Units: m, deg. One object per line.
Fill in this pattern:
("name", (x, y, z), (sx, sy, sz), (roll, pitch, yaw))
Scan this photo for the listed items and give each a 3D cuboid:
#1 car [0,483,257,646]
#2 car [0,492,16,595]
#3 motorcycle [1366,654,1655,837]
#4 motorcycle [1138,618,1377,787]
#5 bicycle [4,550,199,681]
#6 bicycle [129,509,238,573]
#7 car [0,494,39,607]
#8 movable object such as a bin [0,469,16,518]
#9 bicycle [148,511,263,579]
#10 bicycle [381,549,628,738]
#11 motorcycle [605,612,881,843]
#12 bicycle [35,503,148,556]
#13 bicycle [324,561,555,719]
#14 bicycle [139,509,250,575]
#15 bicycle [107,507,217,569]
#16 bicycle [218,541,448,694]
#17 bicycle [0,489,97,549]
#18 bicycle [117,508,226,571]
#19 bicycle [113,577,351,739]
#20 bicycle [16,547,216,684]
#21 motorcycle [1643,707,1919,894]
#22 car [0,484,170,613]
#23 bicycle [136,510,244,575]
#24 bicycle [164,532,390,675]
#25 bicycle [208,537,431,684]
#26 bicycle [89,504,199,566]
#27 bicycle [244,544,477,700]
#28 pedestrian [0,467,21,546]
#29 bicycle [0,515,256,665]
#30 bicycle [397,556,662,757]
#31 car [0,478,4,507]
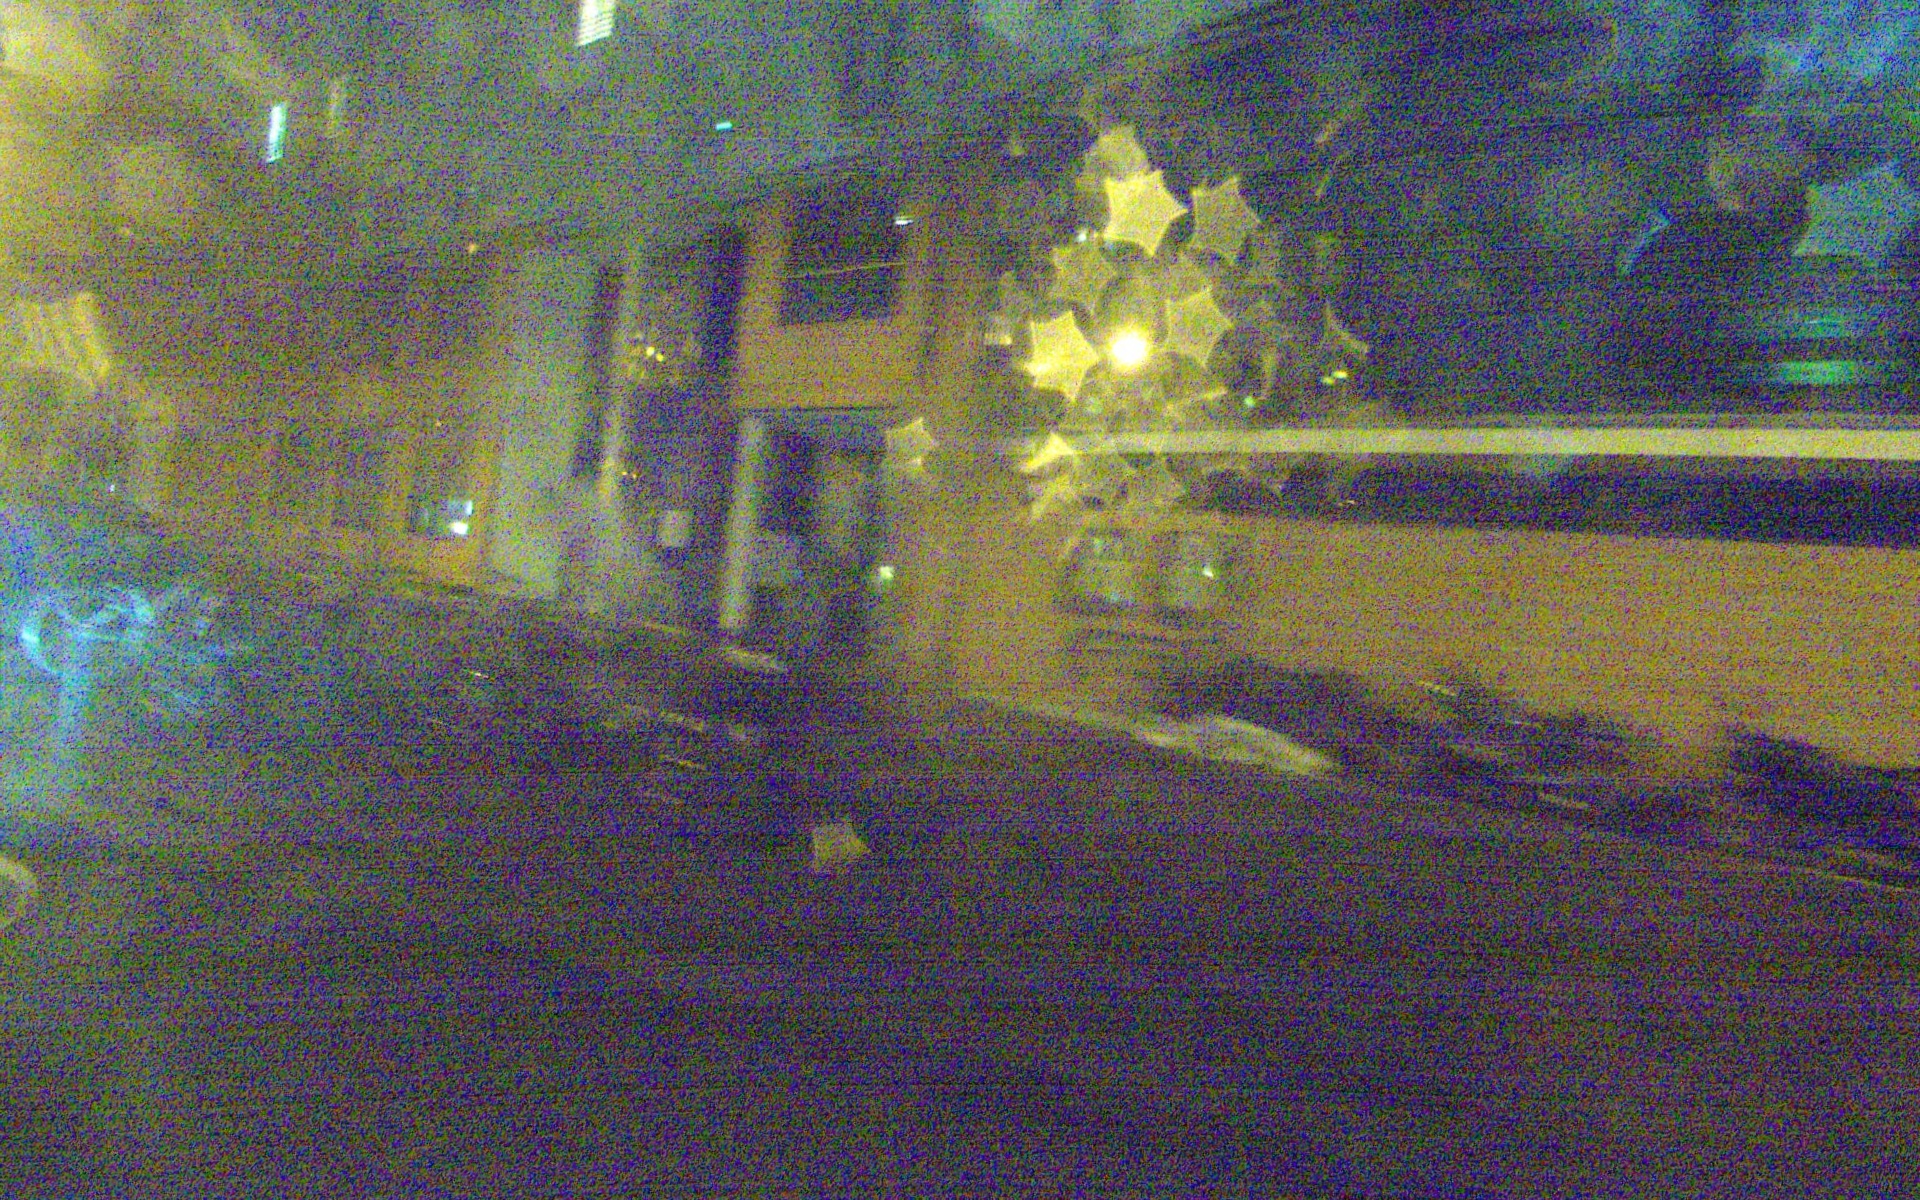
("car", (-9.714, -0.411, 10.545), (1.625, 1.542, 3.712), (6, 1, 10))
("car", (-16.603, -1.111, 14.754), (1.680, 1.629, 3.569), (7, -2, 13))
("motorcycle", (4.848, 1.237, 8.971), (2.091, 1.222, 0.523), (7, 0, 34))
("motorcycle", (2.949, 0.987, 10.076), (2.088, 1.334, 0.524), (7, 0, 28))
("bicycle", (-6.813, 0.125, 8.025), (0.263, 0.961, 1.132), (8, 3, 32))
("bicycle", (-15.918, -1.189, 20.672), (0.477, 1.162, 1.687), (7, 3, 27))
("car", (-14.456, -0.859, 13.216), (1.476, 1.570, 3.052), (7, -1, 13))
("movable object such as a bin", (-29.735, -3.292, 30.691), (0.983, 1.471, 1.207), (7, 4, 35))
("bicycle", (-14.280, -1.020, 19.087), (0.421, 1.162, 1.687), (7, 3, 27))
("bicycle", (-3.327, 0.336, 7.487), (0.411, 1.250, 1.578), (8, 2, 37))
("motorcycle", (-1.239, 0.689, 6.082), (0.641, 1.139, 1.634), (7, 2, 28))
("bicycle", (-20.767, -1.671, 24.099), (0.501, 1.068, 1.973), (7, 2, 28))
("bicycle", (-4.136, 0.331, 8.116), (0.411, 1.126, 1.597), (7, 1, 31))
("bicycle", (-15.118, -1.121, 19.910), (0.421, 1.162, 1.687), (7, 3, 27))
("bicycle", (-16.921, -1.300, 21.370), (0.586, 1.162, 1.687), (7, 3, 27))
("bicycle", (-5.354, 0.176, 8.686), (0.411, 1.173, 1.597), (7, 1, 31))
("bicycle", (-23.968, -2.121, 26.333), (0.771, 1.353, 1.967), (7, 3, 41))
("bicycle", (-16.393, -1.243, 20.958), (0.532, 1.162, 1.687), (7, 3, 27))
("bicycle", (-4.784, 0.375, 6.678), (0.297, 0.960, 1.211), (7, 2, 31))
("bicycle", (-6.577, 0.140, 7.885), (0.245, 0.987, 1.132), (8, 2, 32))
("motorcycle", (6.425, 1.493, 7.534), (2.022, 1.080, 0.524), (7, 0, 28))
("car", (-12.182, -0.693, 12.337), (1.625, 1.542, 3.712), (6, 1, 10))
("bicycle", (-15.521, -1.147, 20.323), (0.421, 1.162, 1.687), (7, 3, 27))
("bicycle", (-6.310, 0.061, 9.360), (0.532, 1.173, 1.592), (8, 2, 42))
("bicycle", (-5.668, 0.122, 9.000), (0.411, 1.173, 1.597), (7, 1, 31))
("bicycle", (-17.585, -1.379, 21.725), (0.654, 1.162, 1.687), (7, 3, 27))
("bicycle", (-4.980, 0.206, 8.463), (0.411, 1.173, 1.597), (7, 1, 31))
("pedestrian", (-23.024, -2.242, 23.893), (0.932, 1.861, 0.838), (6, 4, 31))
("bicycle", (-7.508, -0.061, 8.924), (0.670, 1.173, 1.887), (8, 1, 37))
("bicycle", (-2.973, 0.406, 7.110), (0.379, 1.250, 1.663), (8, 2, 37))
("car", (-18.351, -1.504, 16.012), (1.823, 1.785, 4.112), (7, -2, 11))
